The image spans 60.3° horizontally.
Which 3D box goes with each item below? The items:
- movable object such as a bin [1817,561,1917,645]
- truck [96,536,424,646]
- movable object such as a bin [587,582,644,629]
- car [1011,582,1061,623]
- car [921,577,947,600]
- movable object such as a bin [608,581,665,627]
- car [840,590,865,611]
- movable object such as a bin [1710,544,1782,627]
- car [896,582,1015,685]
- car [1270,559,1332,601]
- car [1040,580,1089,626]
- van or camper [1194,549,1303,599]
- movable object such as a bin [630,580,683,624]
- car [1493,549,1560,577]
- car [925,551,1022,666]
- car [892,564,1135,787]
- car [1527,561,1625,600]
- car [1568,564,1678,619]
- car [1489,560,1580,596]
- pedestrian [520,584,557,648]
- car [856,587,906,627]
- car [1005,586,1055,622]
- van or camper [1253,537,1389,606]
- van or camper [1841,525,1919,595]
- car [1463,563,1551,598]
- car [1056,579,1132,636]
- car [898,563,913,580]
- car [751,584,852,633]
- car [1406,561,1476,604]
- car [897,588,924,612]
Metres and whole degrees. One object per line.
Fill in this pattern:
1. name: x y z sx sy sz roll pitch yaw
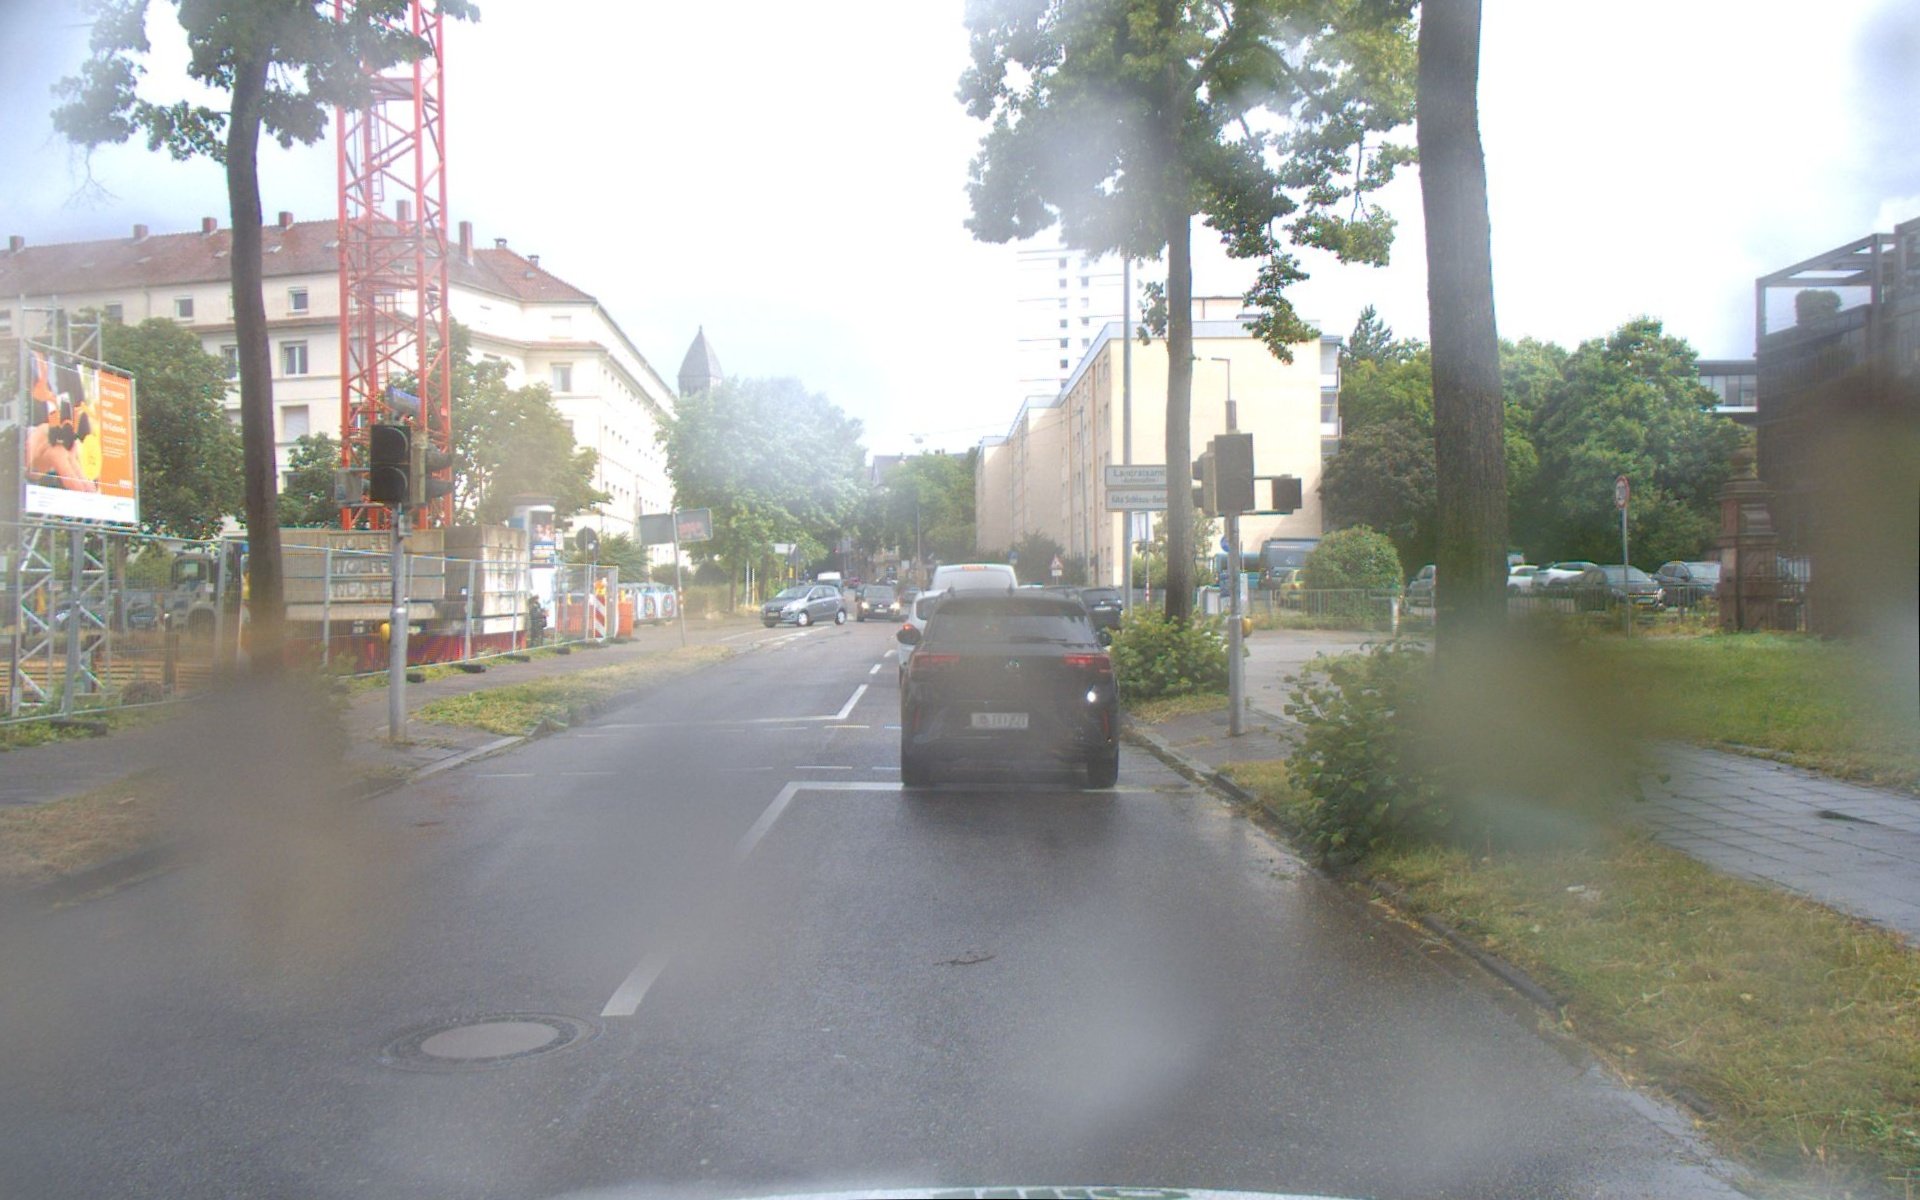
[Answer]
1. movable object such as a bin: 16.921 0.042 30.897 1.083 1.482 1.391 -2 1 0
2. truck: -23.129 -0.284 54.817 9.603 3.239 3.795 -2 1 14
3. movable object such as a bin: -13.055 0.202 62.649 1.505 1.685 1.529 -1 1 18
4. car: 3.041 0.103 67.022 1.573 1.534 4.157 -3 0 -3
5. car: -1.993 -0.888 128.069 1.803 1.636 3.675 -3 1 0
6. movable object such as a bin: -12.548 0.153 64.220 1.505 1.703 1.667 -1 1 18
7. car: -9.051 0.035 139.485 1.803 1.636 4.000 -3 1 0
8. movable object such as a bin: 14.570 -0.279 30.676 0.783 1.482 1.097 -2 1 0
9. car: -0.096 0.521 27.039 1.776 1.529 3.999 1 0 -1
10. car: 12.732 -0.761 61.947 1.578 1.474 3.417 -2 1 0
11. car: 3.873 0.122 61.647 1.720 1.554 4.001 2 -1 3
12. van or camper: 13.185 -1.207 75.903 4.660 2.168 2.323 -1 1 3
13. movable object such as a bin: -12.071 0.081 65.745 1.505 1.691 1.460 -1 1 18
14. car: 31.239 -2.051 91.196 3.158 1.422 1.509 -2 1 2
15. car: 0.289 0.170 33.296 1.798 2.139 4.000 1 0 1
16. car: 0.380 0.581 14.632 1.835 1.674 4.061 1 0 -1
17. car: 26.268 -0.837 70.582 3.590 1.512 1.640 -2 1 2
18. car: 20.020 -0.278 50.104 1.790 1.553 4.426 -2 1 4
19. car: 26.301 -1.008 75.818 3.590 1.512 1.640 -2 1 2
20. pedestrian: -11.018 0.426 43.251 0.716 1.658 0.675 1 -1 -38
21. car: -3.179 0.280 67.153 1.776 1.567 3.982 0 0 1
22. car: 3.049 0.156 72.941 1.714 1.534 4.108 -1 1 -4
23. van or camper: 14.241 -1.107 65.515 4.895 2.599 2.175 -1 0 0
24. van or camper: 36.496 -1.486 63.007 4.689 2.530 2.257 1 0 -1
25. car: 25.870 -0.916 78.290 3.590 1.512 1.640 -2 1 2
26. car: 4.012 0.186 50.117 1.738 1.566 4.376 -3 1 -2
27. car: -6.344 -3.265 192.198 1.632 1.870 3.998 -2 1 -3
28. car: -5.728 0.324 60.215 1.852 1.665 3.997 -2 -1 25
29. car: 17.855 -0.667 61.530 1.615 1.512 3.719 -2 1 2
30. car: -3.522 -0.002 118.669 1.705 1.636 3.675 -3 1 0
